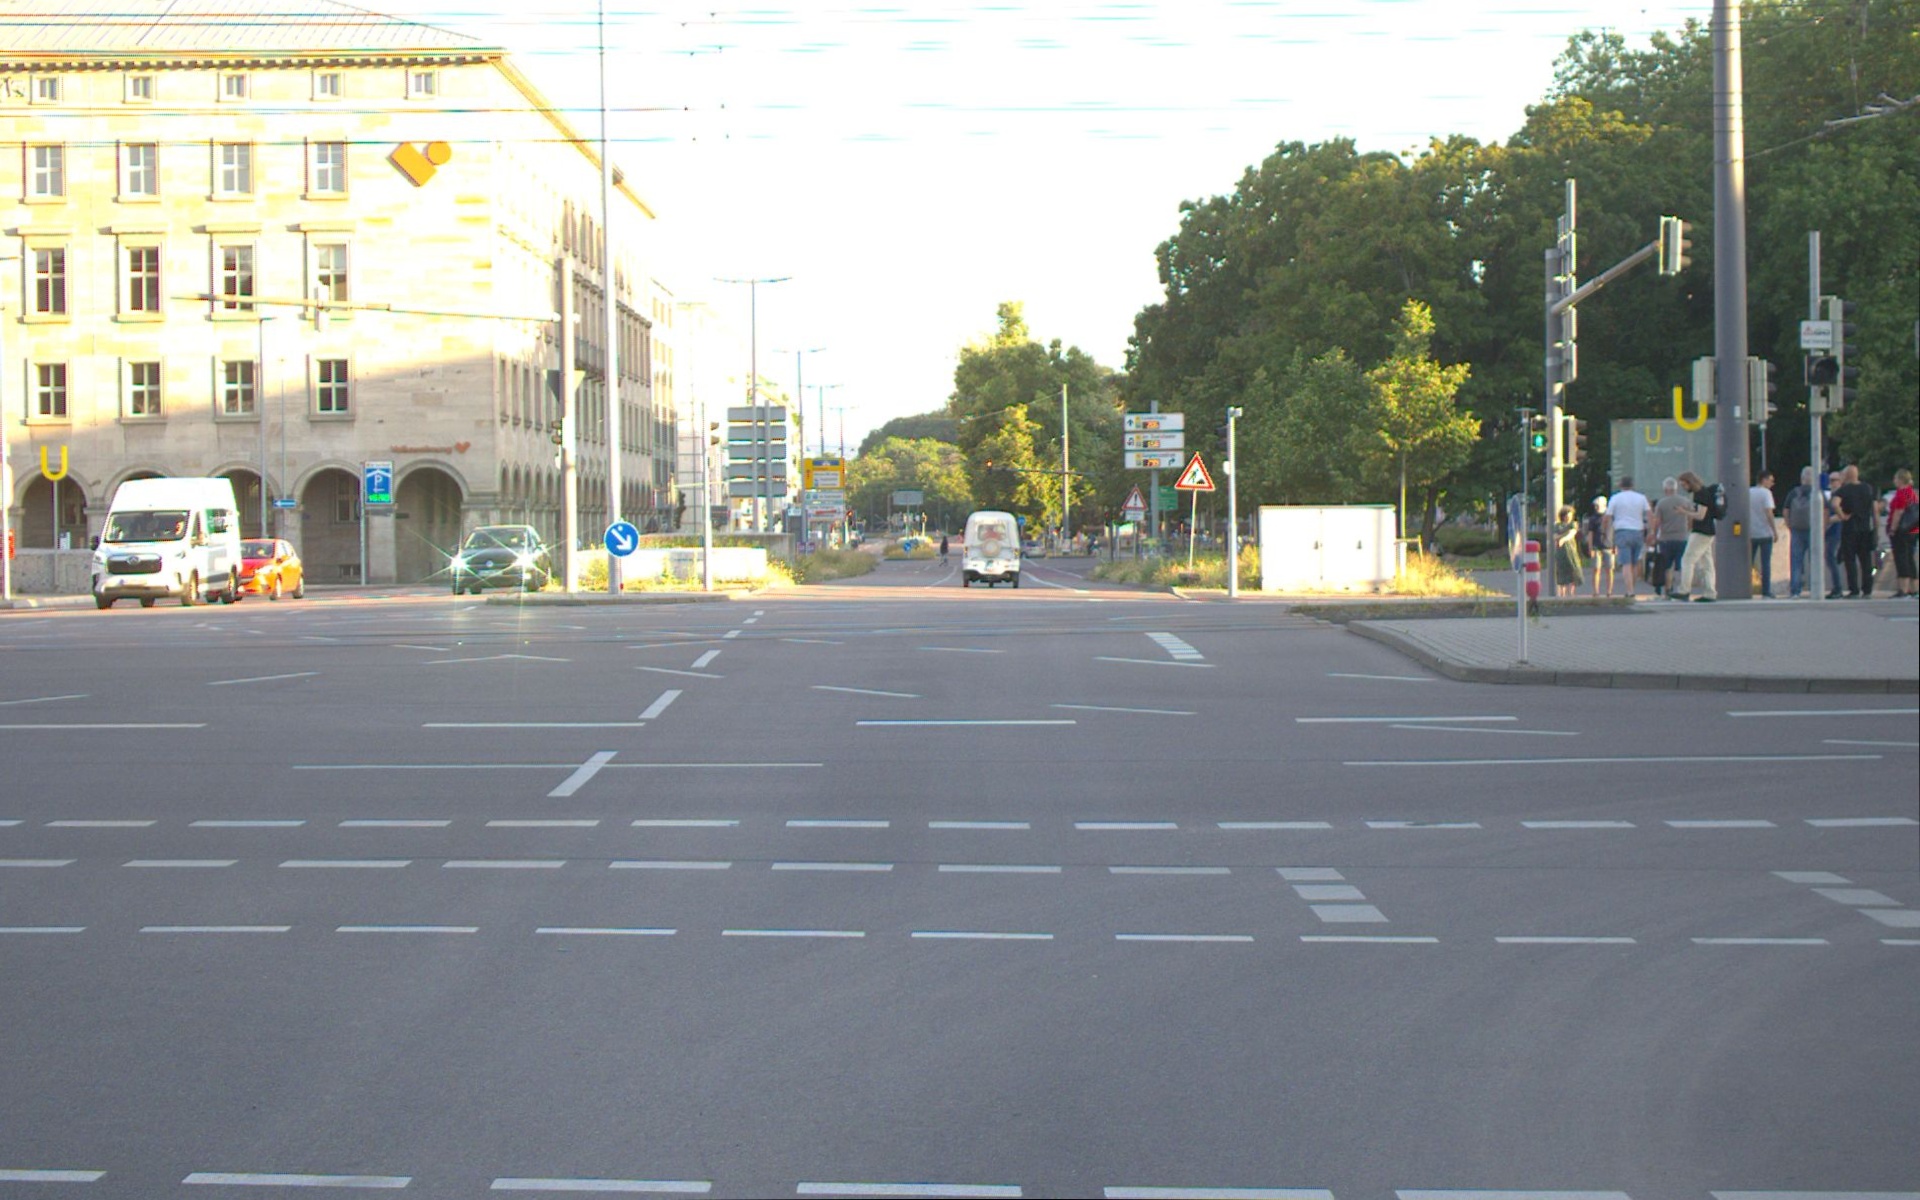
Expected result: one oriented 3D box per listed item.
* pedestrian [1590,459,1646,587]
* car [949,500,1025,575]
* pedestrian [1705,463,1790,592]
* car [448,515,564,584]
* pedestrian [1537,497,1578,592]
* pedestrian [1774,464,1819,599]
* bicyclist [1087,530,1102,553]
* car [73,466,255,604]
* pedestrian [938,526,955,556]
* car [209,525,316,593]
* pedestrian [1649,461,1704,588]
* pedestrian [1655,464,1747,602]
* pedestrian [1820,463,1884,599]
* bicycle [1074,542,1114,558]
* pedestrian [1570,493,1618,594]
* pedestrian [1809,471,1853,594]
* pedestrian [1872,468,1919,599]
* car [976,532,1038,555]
[{"bbox_3d":[8.931,-1.042,46.651,0.711,1.719,0.668,0,2,14],"label":"pedestrian"},{"bbox_3d":[0.608,-1.465,79.912,1.483,1.690,2.974,-1,2,-5],"label":"car"},{"bbox_3d":[10.678,-0.989,46.615,0.912,1.719,0.713,-2,2,-38],"label":"pedestrian"},{"bbox_3d":[-9.559,-1.086,72.633,1.823,1.337,4.000,-1,2,2],"label":"car"},{"bbox_3d":[10.560,-0.987,60.755,0.560,1.649,0.901,0,2,20],"label":"pedestrian"},{"bbox_3d":[11.112,-0.912,45.659,0.572,1.785,0.638,0,2,14],"label":"pedestrian"},{"bbox_3d":[8.832,-3.845,225.760,0.830,1.458,0.661,-1,2,-13],"label":"bicyclist"},{"bbox_3d":[-16.696,-1.396,72.479,2.279,2.766,6.084,-1,2,1],"label":"car"},{"bbox_3d":[-0.779,-3.328,194.661,0.906,1.665,1.307,-1,2,-1],"label":"pedestrian"},{"bbox_3d":[-16.440,-0.988,81.185,1.738,1.482,4.001,-1,2,-1],"label":"car"},{"bbox_3d":[9.753,-1.032,46.807,0.711,1.719,0.668,0,2,13],"label":"pedestrian"},{"bbox_3d":[9.346,-0.847,43.365,0.912,1.719,0.713,-1,2,-13],"label":"pedestrian"},{"bbox_3d":[11.832,-0.916,45.629,0.805,1.785,0.800,0,2,14],"label":"pedestrian"},{"bbox_3d":[8.792,-3.282,225.726,2.601,0.955,0.515,1,0,-13],"label":"bicycle"},{"bbox_3d":[11.181,-1.002,60.602,0.680,1.751,0.901,0,2,20],"label":"pedestrian"},{"bbox_3d":[11.938,-0.929,47.127,0.572,1.673,0.638,0,2,14],"label":"pedestrian"},{"bbox_3d":[12.669,-0.897,46.010,0.845,1.728,0.705,0,2,12],"label":"pedestrian"},{"bbox_3d":[3.240,-3.888,235.560,3.989,1.482,1.743,0,2,12],"label":"car"}]
